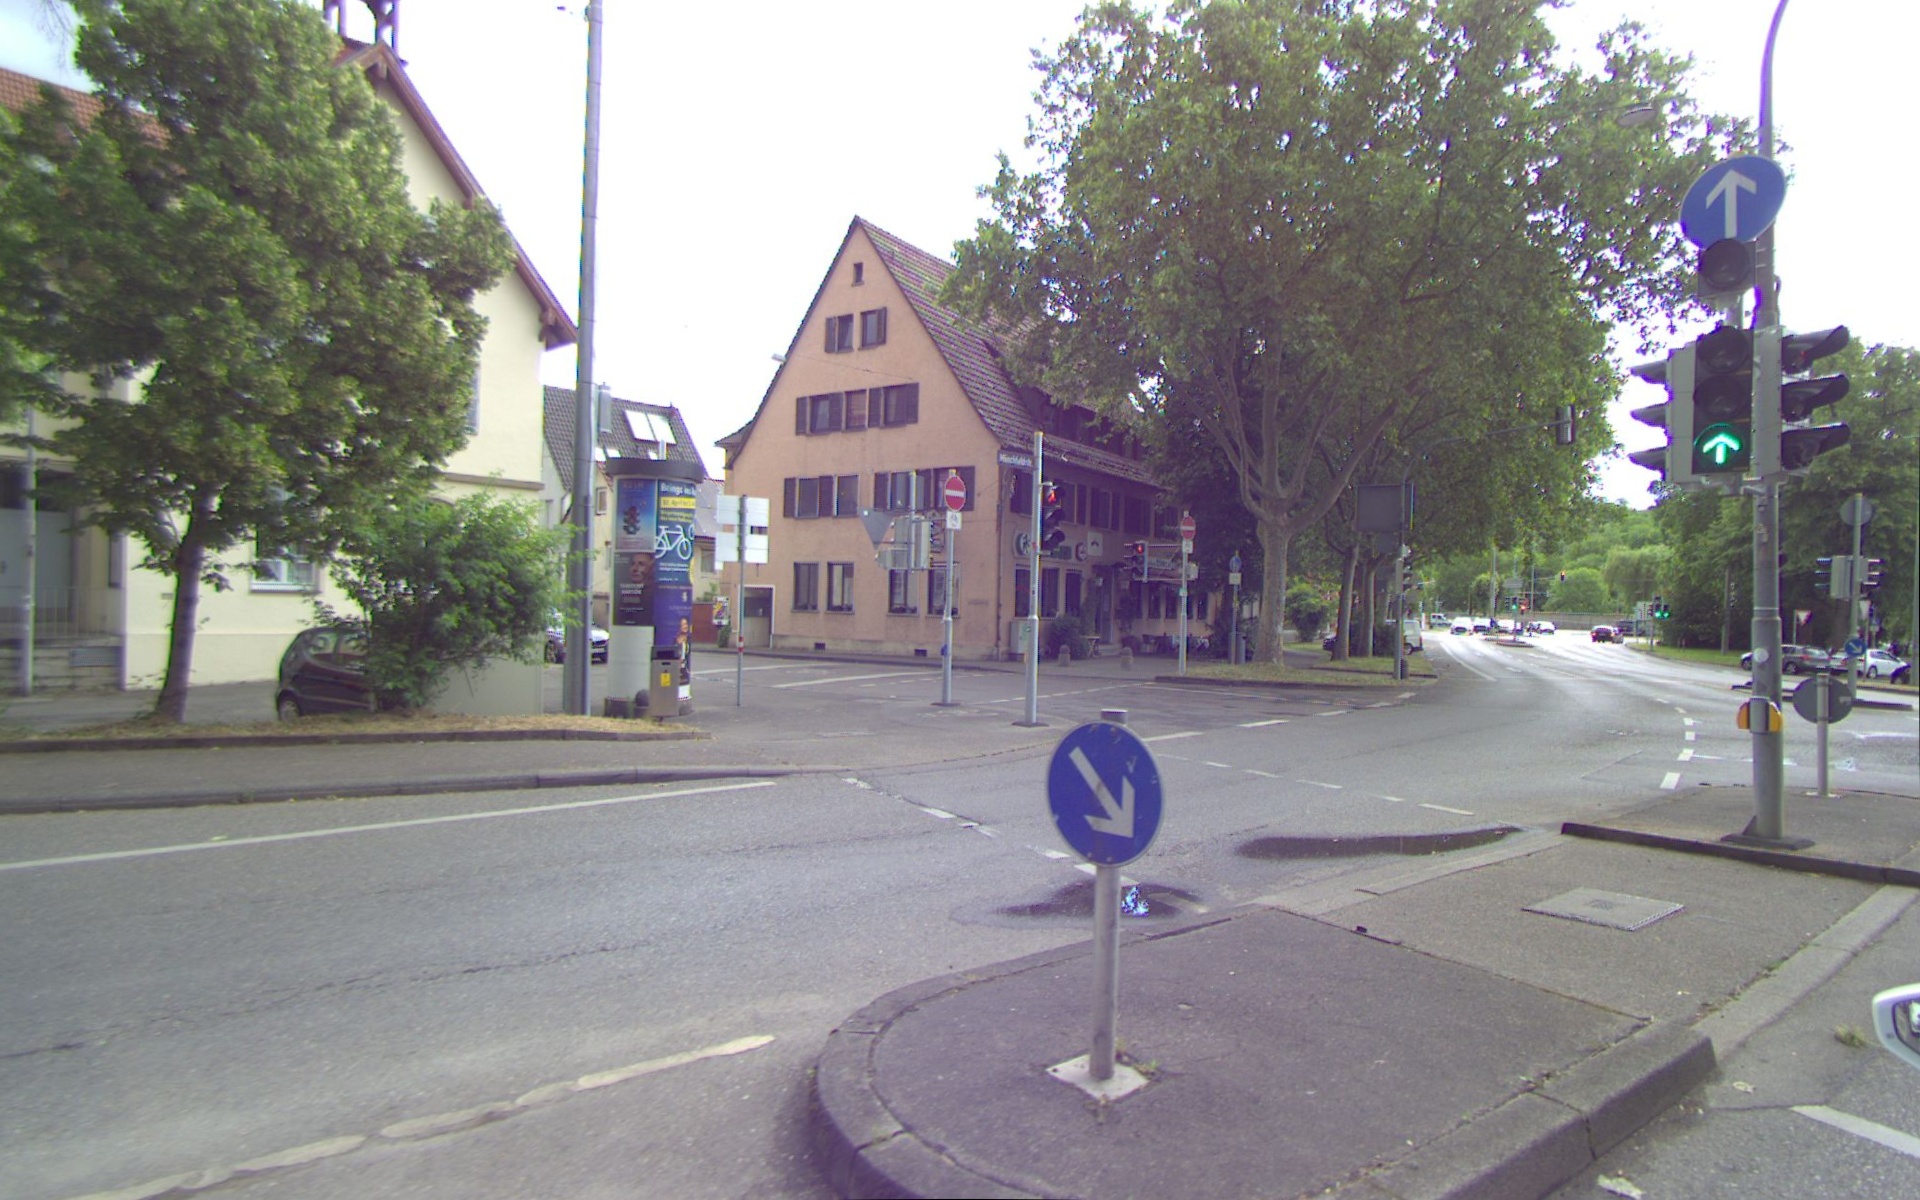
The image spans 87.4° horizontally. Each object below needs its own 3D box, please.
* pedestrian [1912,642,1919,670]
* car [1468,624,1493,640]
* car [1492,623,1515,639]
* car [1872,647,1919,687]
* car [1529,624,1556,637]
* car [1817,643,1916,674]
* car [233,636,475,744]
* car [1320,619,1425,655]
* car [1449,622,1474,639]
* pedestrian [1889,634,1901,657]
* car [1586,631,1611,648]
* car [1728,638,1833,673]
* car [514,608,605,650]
[{"bbox_3d":[54.896,3.199,57.279,0.673,1.572,0.741,2,0,30],"label":"pedestrian"},{"bbox_3d":[56.239,3.415,108.565,1.773,1.608,4.399,-1,-1,36],"label":"car"},{"bbox_3d":[63.771,3.626,117.858,1.885,1.787,4.737,1,0,35],"label":"car"},{"bbox_3d":[37.058,2.607,38.193,1.542,1.423,3.494,2,0,0],"label":"car"},{"bbox_3d":[81.565,4.251,140.584,3.017,1.258,1.429,4,14,40],"label":"car"},{"bbox_3d":[45.630,2.939,50.587,4.193,1.399,1.758,2,0,-17],"label":"car"},{"bbox_3d":[-9.001,1.256,14.907,3.336,1.327,1.482,1,-1,26],"label":"car"},{"bbox_3d":[23.049,2.027,56.354,5.137,1.957,2.085,0,-1,12],"label":"car"},{"bbox_3d":[45.938,2.833,91.942,1.737,1.485,4.014,0,-2,31],"label":"car"},{"bbox_3d":[65.682,3.201,70.535,0.504,1.552,0.774,2,0,39],"label":"pedestrian"},{"bbox_3d":[59.991,3.702,94.462,1.796,1.529,4.565,2,-1,31],"label":"car"},{"bbox_3d":[41.901,2.811,51.396,1.701,1.448,4.108,2,1,-6],"label":"car"},{"bbox_3d":[-16.003,1.129,40.058,3.612,1.534,1.820,1,-1,39],"label":"car"}]
